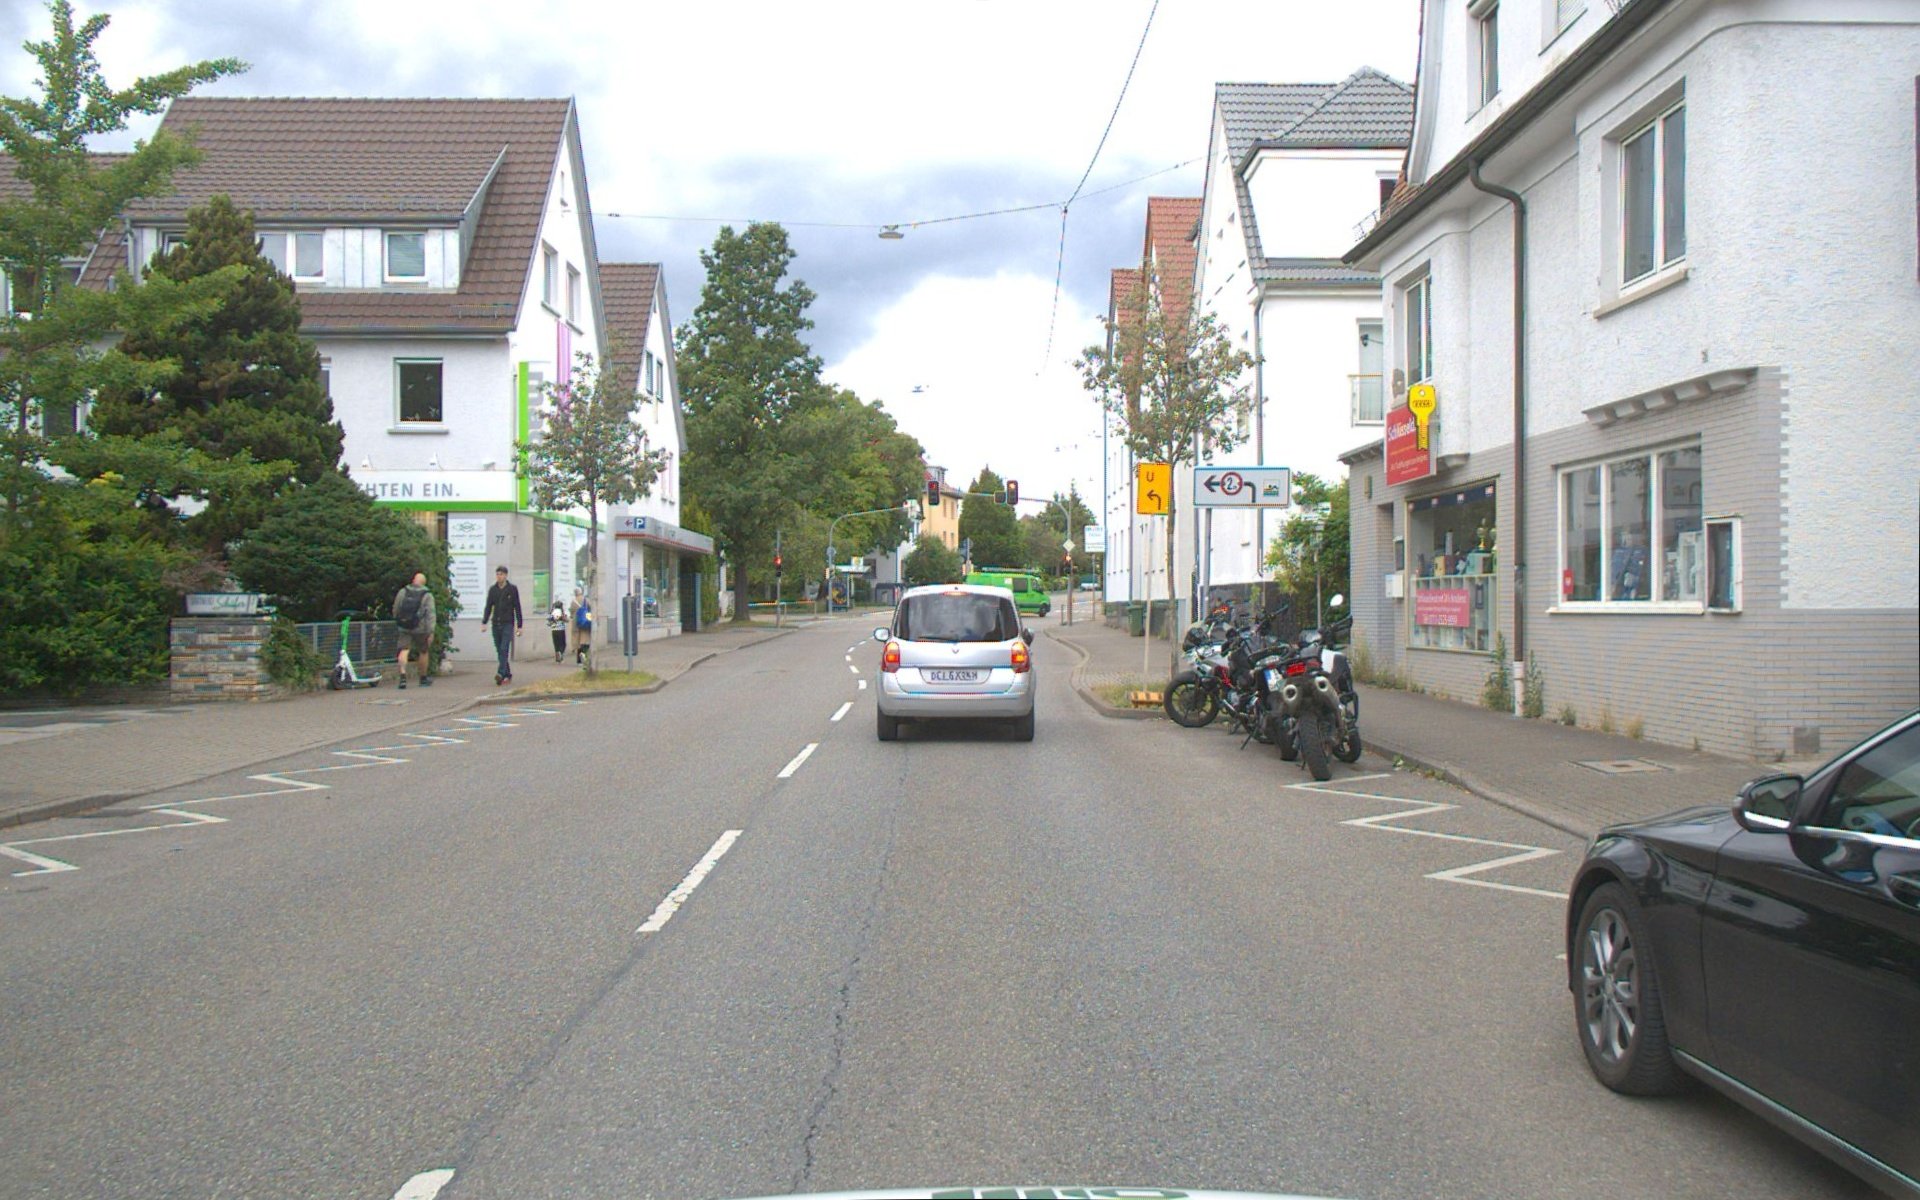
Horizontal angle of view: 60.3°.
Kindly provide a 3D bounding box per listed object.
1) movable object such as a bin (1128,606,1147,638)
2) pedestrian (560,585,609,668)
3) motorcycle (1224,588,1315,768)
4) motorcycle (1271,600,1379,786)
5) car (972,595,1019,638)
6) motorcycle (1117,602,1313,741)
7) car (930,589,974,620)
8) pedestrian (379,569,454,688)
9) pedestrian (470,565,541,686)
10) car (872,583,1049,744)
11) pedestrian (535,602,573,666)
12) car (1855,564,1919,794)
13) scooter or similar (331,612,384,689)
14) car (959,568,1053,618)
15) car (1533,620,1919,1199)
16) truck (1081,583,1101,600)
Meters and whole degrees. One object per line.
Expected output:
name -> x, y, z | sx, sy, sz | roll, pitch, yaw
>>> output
movable object such as a bin -> 5.517, 0.687, 51.429 | 0.529, 0.957, 0.487 | -2, -1, 1
pedestrian -> -7.726, 0.548, 34.055 | 0.736, 1.645, 0.793 | 3, -1, 0
motorcycle -> 2.896, 0.681, 15.673 | 0.656, 1.551, 2.599 | 1, 0, 7
motorcycle -> 3.199, 0.745, 14.327 | 0.634, 1.465, 2.470 | 1, 0, 19
car -> 1.321, 0.612, 62.629 | 1.719, 1.557, 3.797 | 1, 0, 1
motorcycle -> 2.748, 0.735, 18.073 | 0.767, 1.405, 2.214 | 1, 0, -36
car -> -0.498, 0.278, 103.462 | 1.885, 1.804, 4.004 | -4, -1, 11
pedestrian -> -8.410, 0.436, 25.612 | 0.736, 1.774, 1.019 | 2, 0, 0
pedestrian -> -7.339, 0.405, 26.724 | 0.736, 1.881, 1.019 | 4, 0, 0
car -> 0.032, 0.631, 18.273 | 1.719, 1.557, 4.000 | 1, 0, 1
pedestrian -> -8.446, 0.709, 34.417 | 0.587, 1.302, 0.655 | 2, -1, 0
car -> 8.771, 0.470, 11.436 | 4.112, 1.616, 1.855 | -2, 0, 0
scooter or similar -> -9.046, 0.744, 24.866 | 0.332, 1.131, 1.180 | 1, 0, 1
car -> 2.520, -0.340, 88.734 | 2.028, 2.556, 5.564 | 1, 0, 40
car -> 2.956, 0.794, 3.568 | 1.788, 1.433, 4.564 | 1, 0, -1
truck -> 17.094, -1.069, 215.483 | 2.056, 2.049, 5.752 | 1, 0, 11
